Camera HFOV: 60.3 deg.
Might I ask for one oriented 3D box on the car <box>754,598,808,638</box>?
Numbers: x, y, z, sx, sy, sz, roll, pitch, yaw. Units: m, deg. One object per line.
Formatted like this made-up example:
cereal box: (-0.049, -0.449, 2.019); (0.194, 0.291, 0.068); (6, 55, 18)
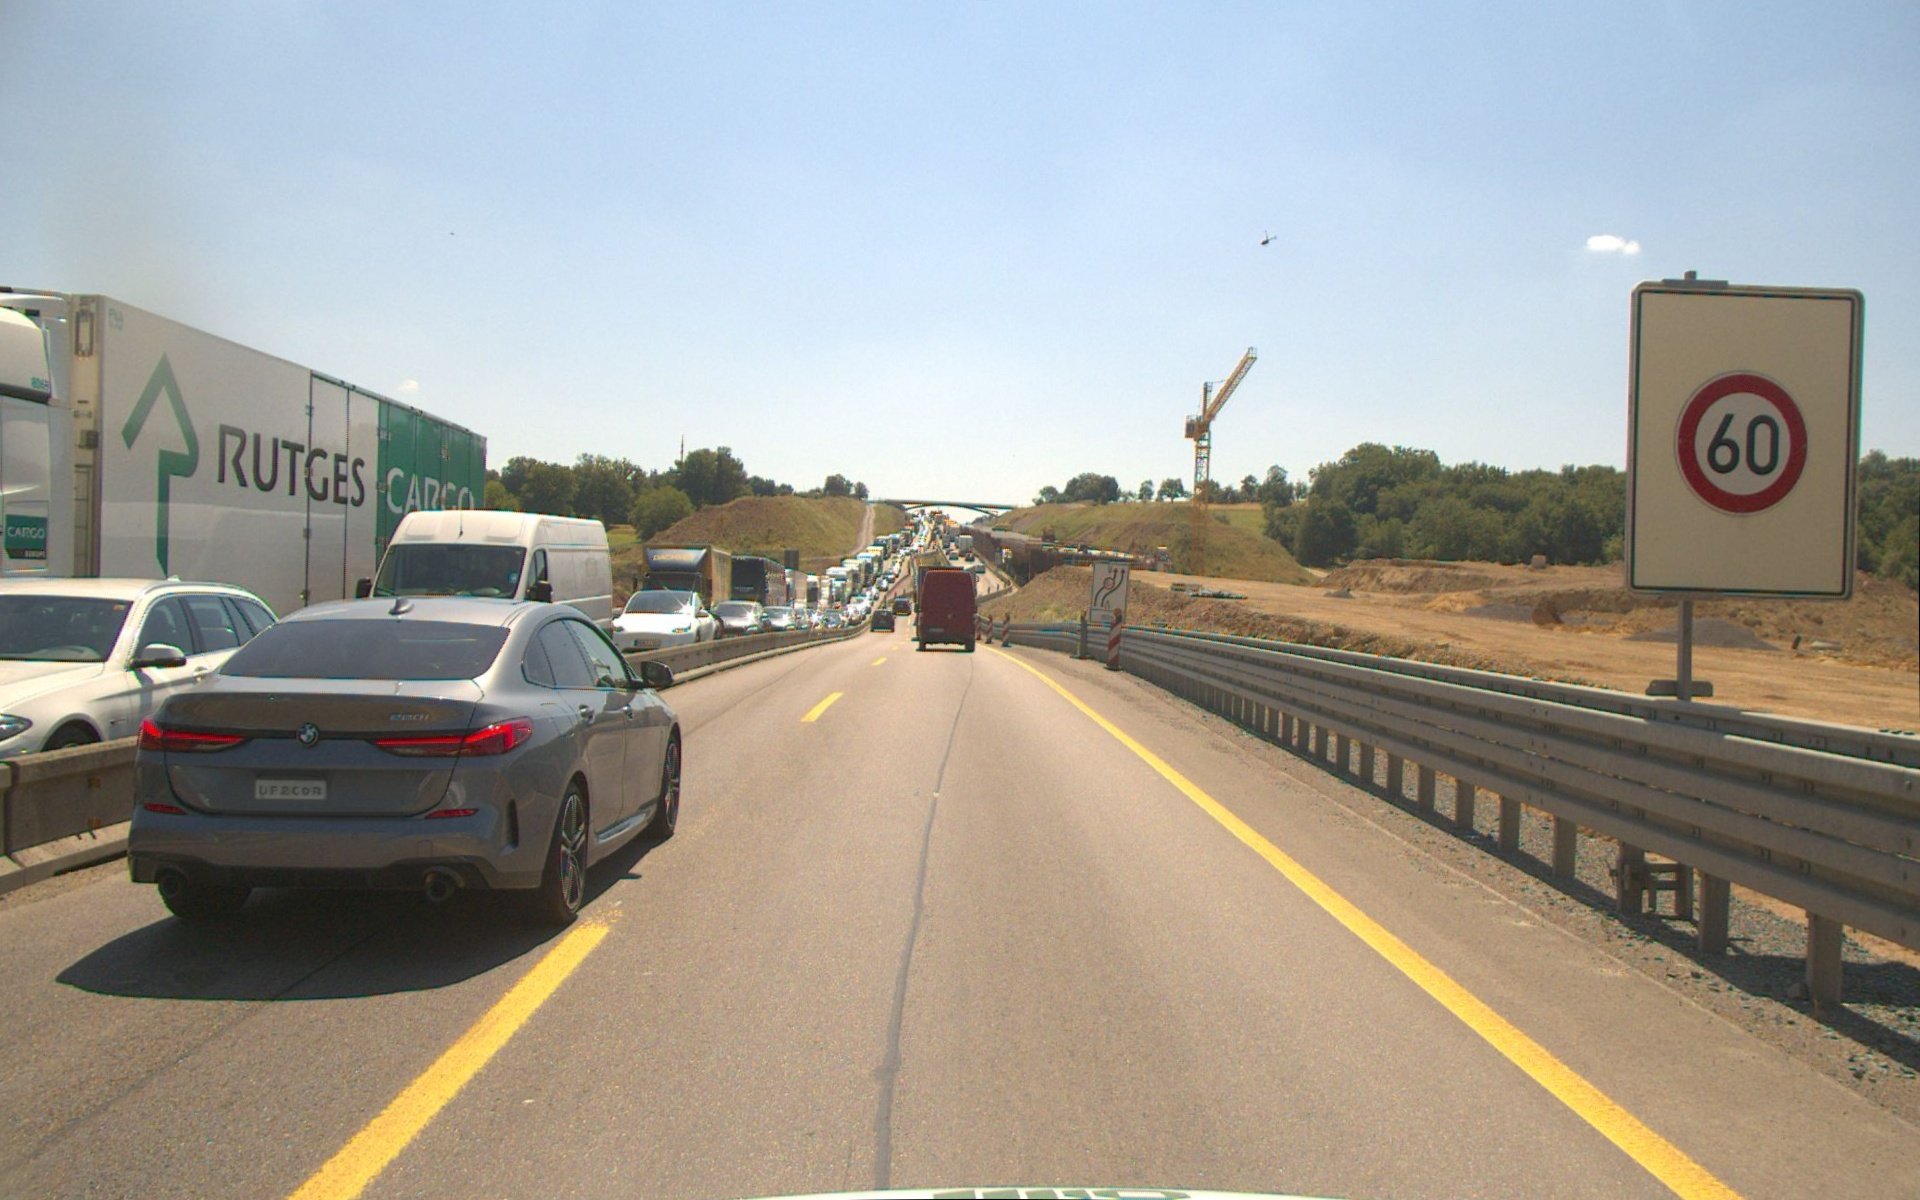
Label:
car: (-7.034, 0.698, 65.532); (1.822, 1.520, 4.901); (-1, 0, -3)

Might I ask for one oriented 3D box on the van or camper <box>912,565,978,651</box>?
van or camper: (-0.554, 0.247, 57.244); (1.989, 2.792, 4.512); (1, 1, -3)

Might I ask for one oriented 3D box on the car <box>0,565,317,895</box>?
car: (-5.851, 0.590, 10.491); (1.955, 1.524, 4.969); (3, 1, -6)

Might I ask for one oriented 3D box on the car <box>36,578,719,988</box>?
car: (-2.563, 0.665, 8.665); (1.814, 1.477, 4.742); (3, 1, 0)

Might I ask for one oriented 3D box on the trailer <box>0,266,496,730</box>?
trailer: (-9.512, -0.981, 22.653); (2.758, 4.508, 13.165); (1, 0, -1)

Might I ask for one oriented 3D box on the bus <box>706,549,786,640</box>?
bus: (-11.209, -0.406, 87.836); (2.684, 4.338, 14.471); (2, 1, -2)

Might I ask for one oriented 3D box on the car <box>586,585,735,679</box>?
car: (-6.550, 0.637, 36.899); (2.324, 1.756, 5.780); (3, 1, -1)

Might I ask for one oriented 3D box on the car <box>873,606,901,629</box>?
car: (-5.457, 1.259, 123.189); (1.972, 1.572, 4.130); (1, 1, -3)

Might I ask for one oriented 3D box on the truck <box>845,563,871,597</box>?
truck: (-14.334, -2.854, 233.040); (2.988, 4.558, 5.983); (1, 1, 3)

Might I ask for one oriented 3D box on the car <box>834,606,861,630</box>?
car: (-9.018, 1.417, 132.847); (1.954, 1.659, 4.756); (2, 1, -3)

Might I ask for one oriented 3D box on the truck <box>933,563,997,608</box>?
truck: (0.741, -1.799, 201.497); (5.051, 5.083, 13.888); (3, 1, 11)

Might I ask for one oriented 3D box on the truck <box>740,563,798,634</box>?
truck: (-12.041, -0.105, 104.726); (3.035, 4.271, 6.698); (1, 0, -3)

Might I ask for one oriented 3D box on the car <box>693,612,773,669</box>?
car: (-6.899, 1.206, 50.771); (1.844, 1.457, 5.123); (2, 1, -2)

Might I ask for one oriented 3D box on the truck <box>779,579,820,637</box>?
truck: (-12.339, 0.618, 127.478); (2.919, 4.258, 5.869); (1, 0, -4)

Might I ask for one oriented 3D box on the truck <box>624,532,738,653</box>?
truck: (-10.701, -0.280, 64.511); (2.745, 4.224, 10.077); (2, 0, -1)

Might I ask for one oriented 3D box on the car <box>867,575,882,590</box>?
car: (-11.637, -2.365, 224.211); (1.954, 1.814, 3.998); (2, 1, -4)

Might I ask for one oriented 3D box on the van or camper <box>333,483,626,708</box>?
van or camper: (-6.293, -0.098, 22.646); (2.174, 2.555, 6.532); (2, 1, -2)

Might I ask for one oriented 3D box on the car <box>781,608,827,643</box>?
car: (-7.595, 1.226, 80.928); (1.879, 1.448, 5.089); (2, 1, -2)

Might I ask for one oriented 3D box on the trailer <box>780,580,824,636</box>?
trailer: (-12.752, 0.624, 134.733); (2.926, 4.282, 13.936); (1, 0, -3)

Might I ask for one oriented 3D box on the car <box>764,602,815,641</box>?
car: (-7.366, 0.889, 71.774); (1.801, 1.468, 4.928); (2, 1, -2)

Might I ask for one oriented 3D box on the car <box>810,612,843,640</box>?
car: (-8.052, 1.552, 100.162); (1.776, 1.462, 5.119); (2, 1, -3)

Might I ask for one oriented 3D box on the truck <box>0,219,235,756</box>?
truck: (-9.393, -0.973, 15.182); (2.749, 4.469, 6.224); (1, 1, -1)

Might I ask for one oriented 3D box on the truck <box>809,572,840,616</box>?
truck: (-12.531, -0.553, 153.318); (2.474, 3.923, 8.667); (1, 0, -2)

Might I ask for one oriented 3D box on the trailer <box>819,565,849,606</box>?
trailer: (-13.870, -1.605, 182.800); (2.542, 4.331, 12.464); (1, 1, -1)

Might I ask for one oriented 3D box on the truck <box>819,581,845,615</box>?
truck: (-13.035, -0.239, 168.725); (2.385, 3.203, 7.020); (1, 1, -3)

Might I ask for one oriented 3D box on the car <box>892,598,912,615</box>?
car: (-5.984, 0.667, 170.175); (1.972, 1.572, 4.131); (2, 1, -2)

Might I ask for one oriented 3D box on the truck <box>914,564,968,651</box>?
truck: (-1.128, 0.366, 94.914); (2.959, 4.775, 6.931); (0, 1, -1)
